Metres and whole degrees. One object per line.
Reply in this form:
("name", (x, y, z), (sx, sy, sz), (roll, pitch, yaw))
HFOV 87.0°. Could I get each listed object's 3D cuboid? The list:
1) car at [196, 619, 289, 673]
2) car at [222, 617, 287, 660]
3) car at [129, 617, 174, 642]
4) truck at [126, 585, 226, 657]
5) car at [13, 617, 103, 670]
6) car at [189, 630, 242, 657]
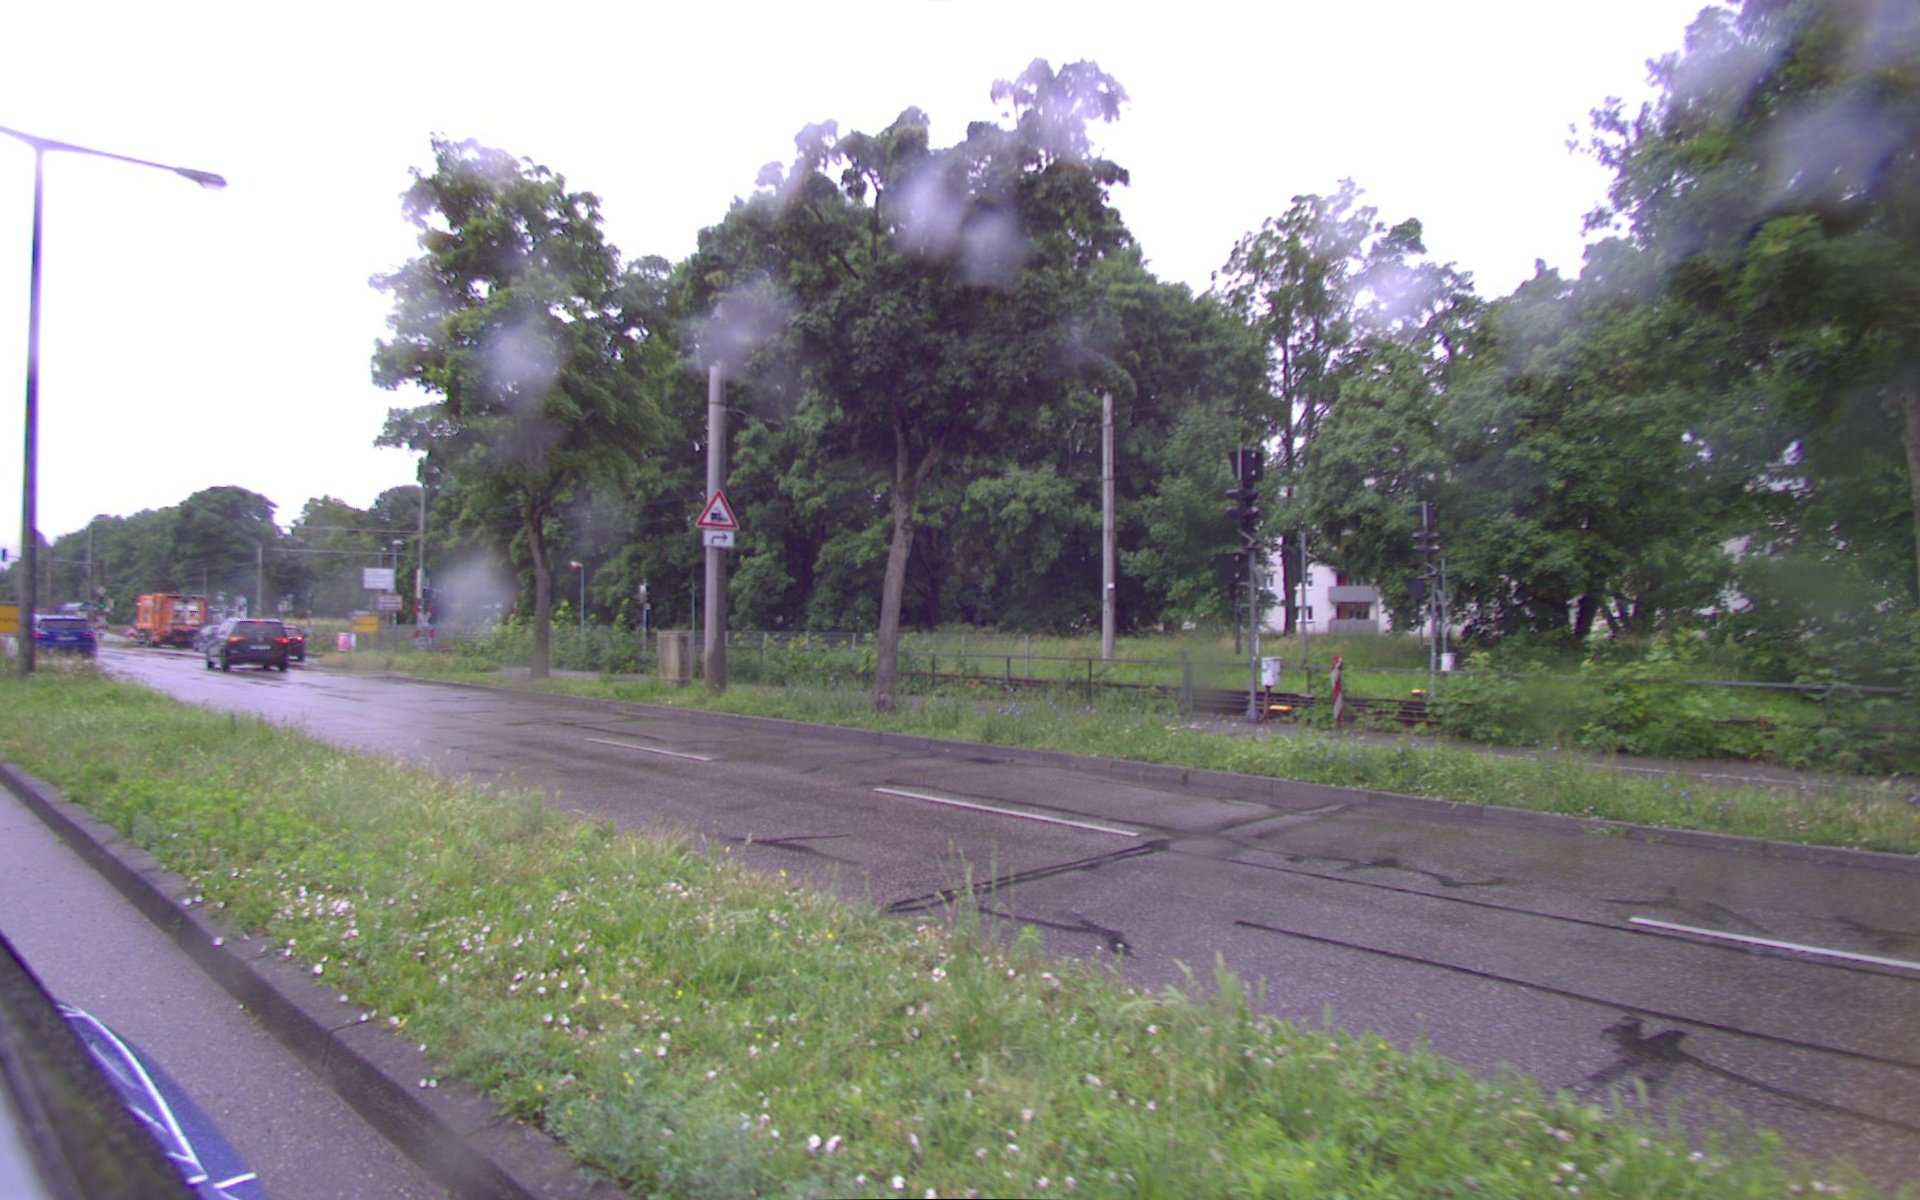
("car", (-23.349, 1.476, 32.883), (4.332, 1.654, 1.687), (-1, -3, 45))
("car", (-33.572, 1.781, 48.124), (1.969, 1.841, 4.778), (-1, 0, -42))
("car", (-58.002, 2.083, 72.563), (4.528, 1.722, 1.971), (-1, 0, 44))
("truck", (-50.008, 1.258, 64.401), (10.406, 4.199, 3.348), (-1, 0, 43))
("car", (-30.337, 1.442, 33.995), (4.134, 1.663, 1.725), (-1, -4, 42))
("car", (-40.360, 2.336, 54.817), (3.686, 1.389, 1.570), (-1, -4, 43))
